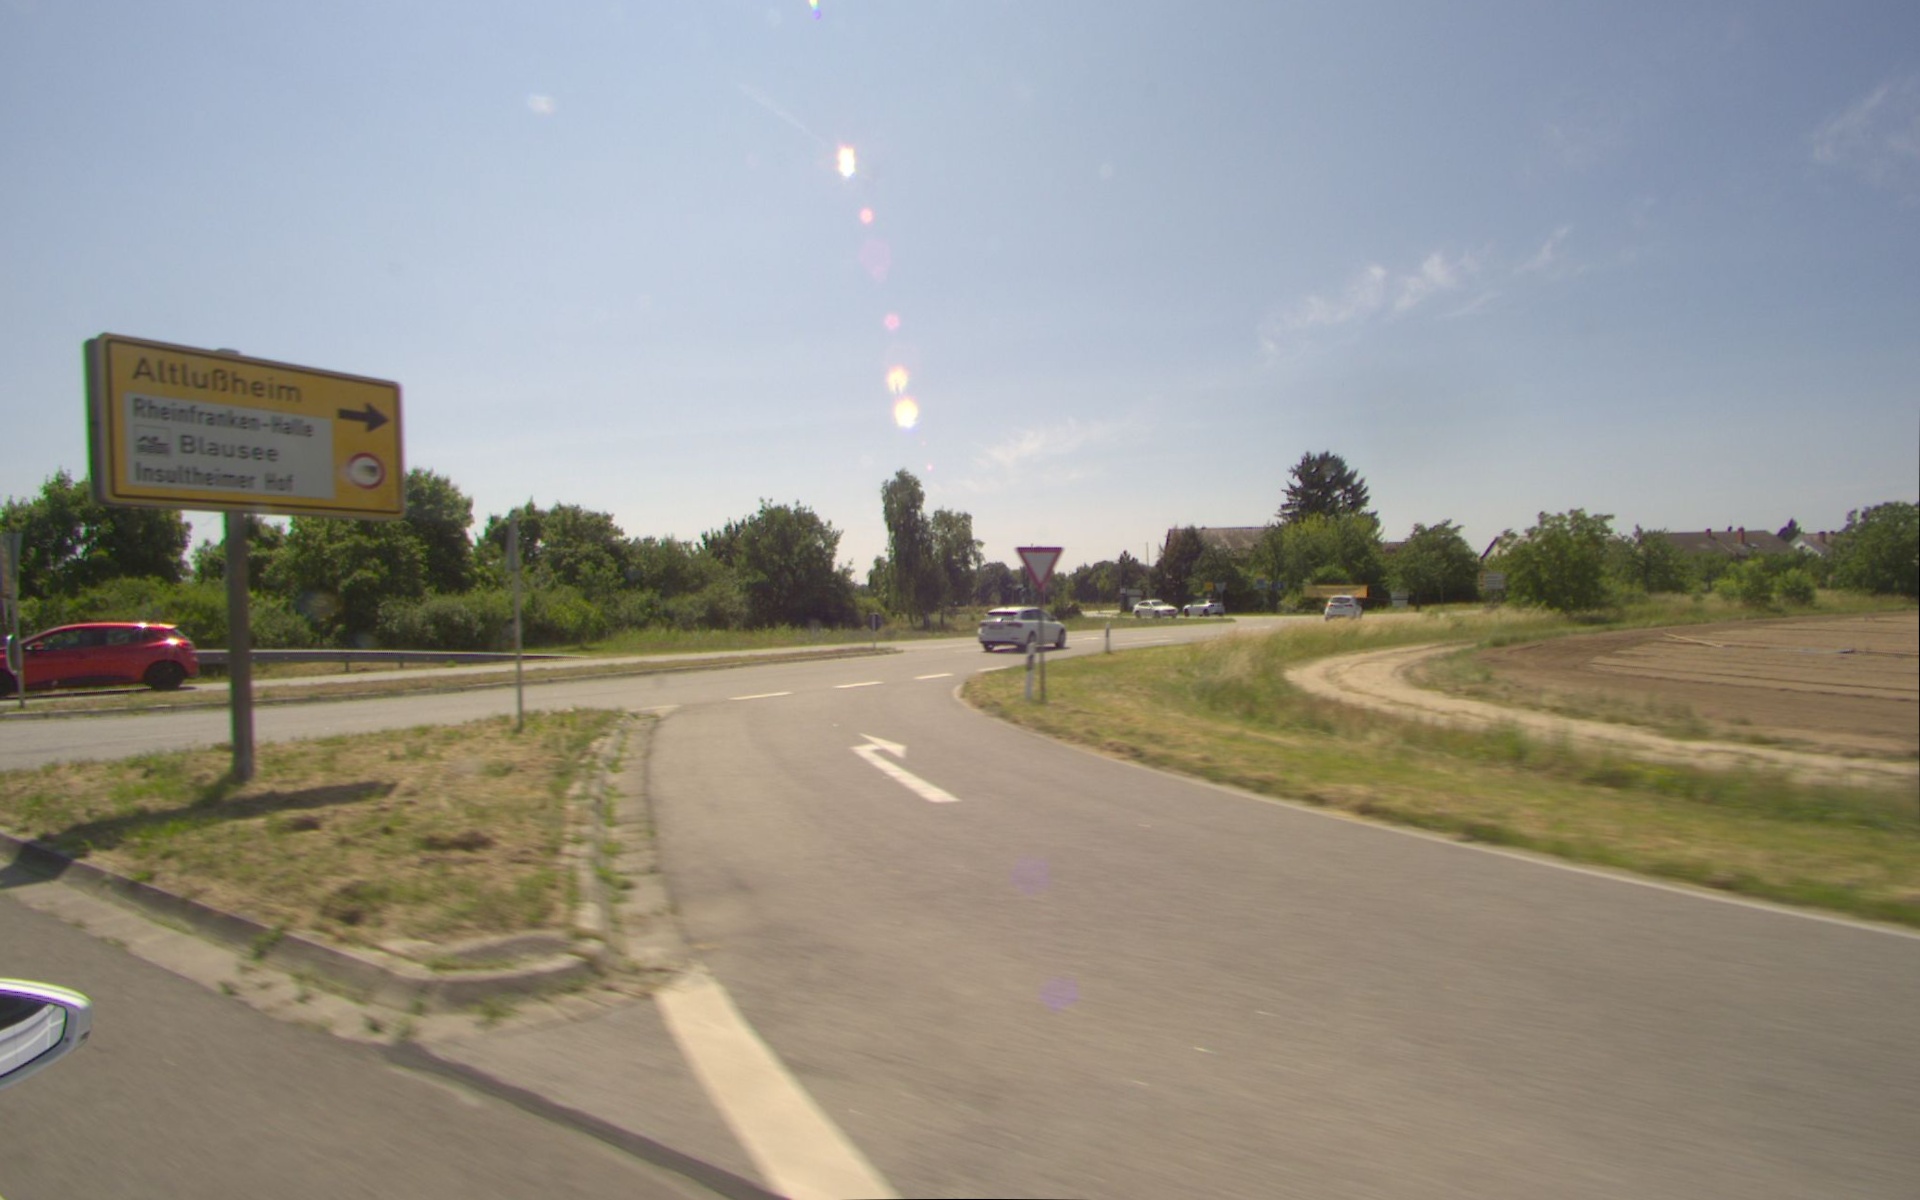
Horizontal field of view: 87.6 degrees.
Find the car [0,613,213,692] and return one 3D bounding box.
[{"bbox_3d":[-17.718,1.018,20.144,4.126,1.437,1.762,0,-1,-45],"label":"car"}]

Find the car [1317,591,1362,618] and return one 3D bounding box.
[{"bbox_3d":[23.970,0.290,63.212,2.040,1.645,4.123,-1,0,30],"label":"car"}]

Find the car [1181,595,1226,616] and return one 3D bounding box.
[{"bbox_3d":[20.157,0.471,83.080,1.617,1.645,3.988,-1,0,-22],"label":"car"}]

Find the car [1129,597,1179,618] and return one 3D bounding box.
[{"bbox_3d":[16.046,0.615,83.022,1.618,1.645,4.751,-1,0,-23],"label":"car"}]

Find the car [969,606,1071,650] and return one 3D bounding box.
[{"bbox_3d":[2.174,0.987,34.909,1.813,1.436,4.698,-1,-2,28],"label":"car"}]
